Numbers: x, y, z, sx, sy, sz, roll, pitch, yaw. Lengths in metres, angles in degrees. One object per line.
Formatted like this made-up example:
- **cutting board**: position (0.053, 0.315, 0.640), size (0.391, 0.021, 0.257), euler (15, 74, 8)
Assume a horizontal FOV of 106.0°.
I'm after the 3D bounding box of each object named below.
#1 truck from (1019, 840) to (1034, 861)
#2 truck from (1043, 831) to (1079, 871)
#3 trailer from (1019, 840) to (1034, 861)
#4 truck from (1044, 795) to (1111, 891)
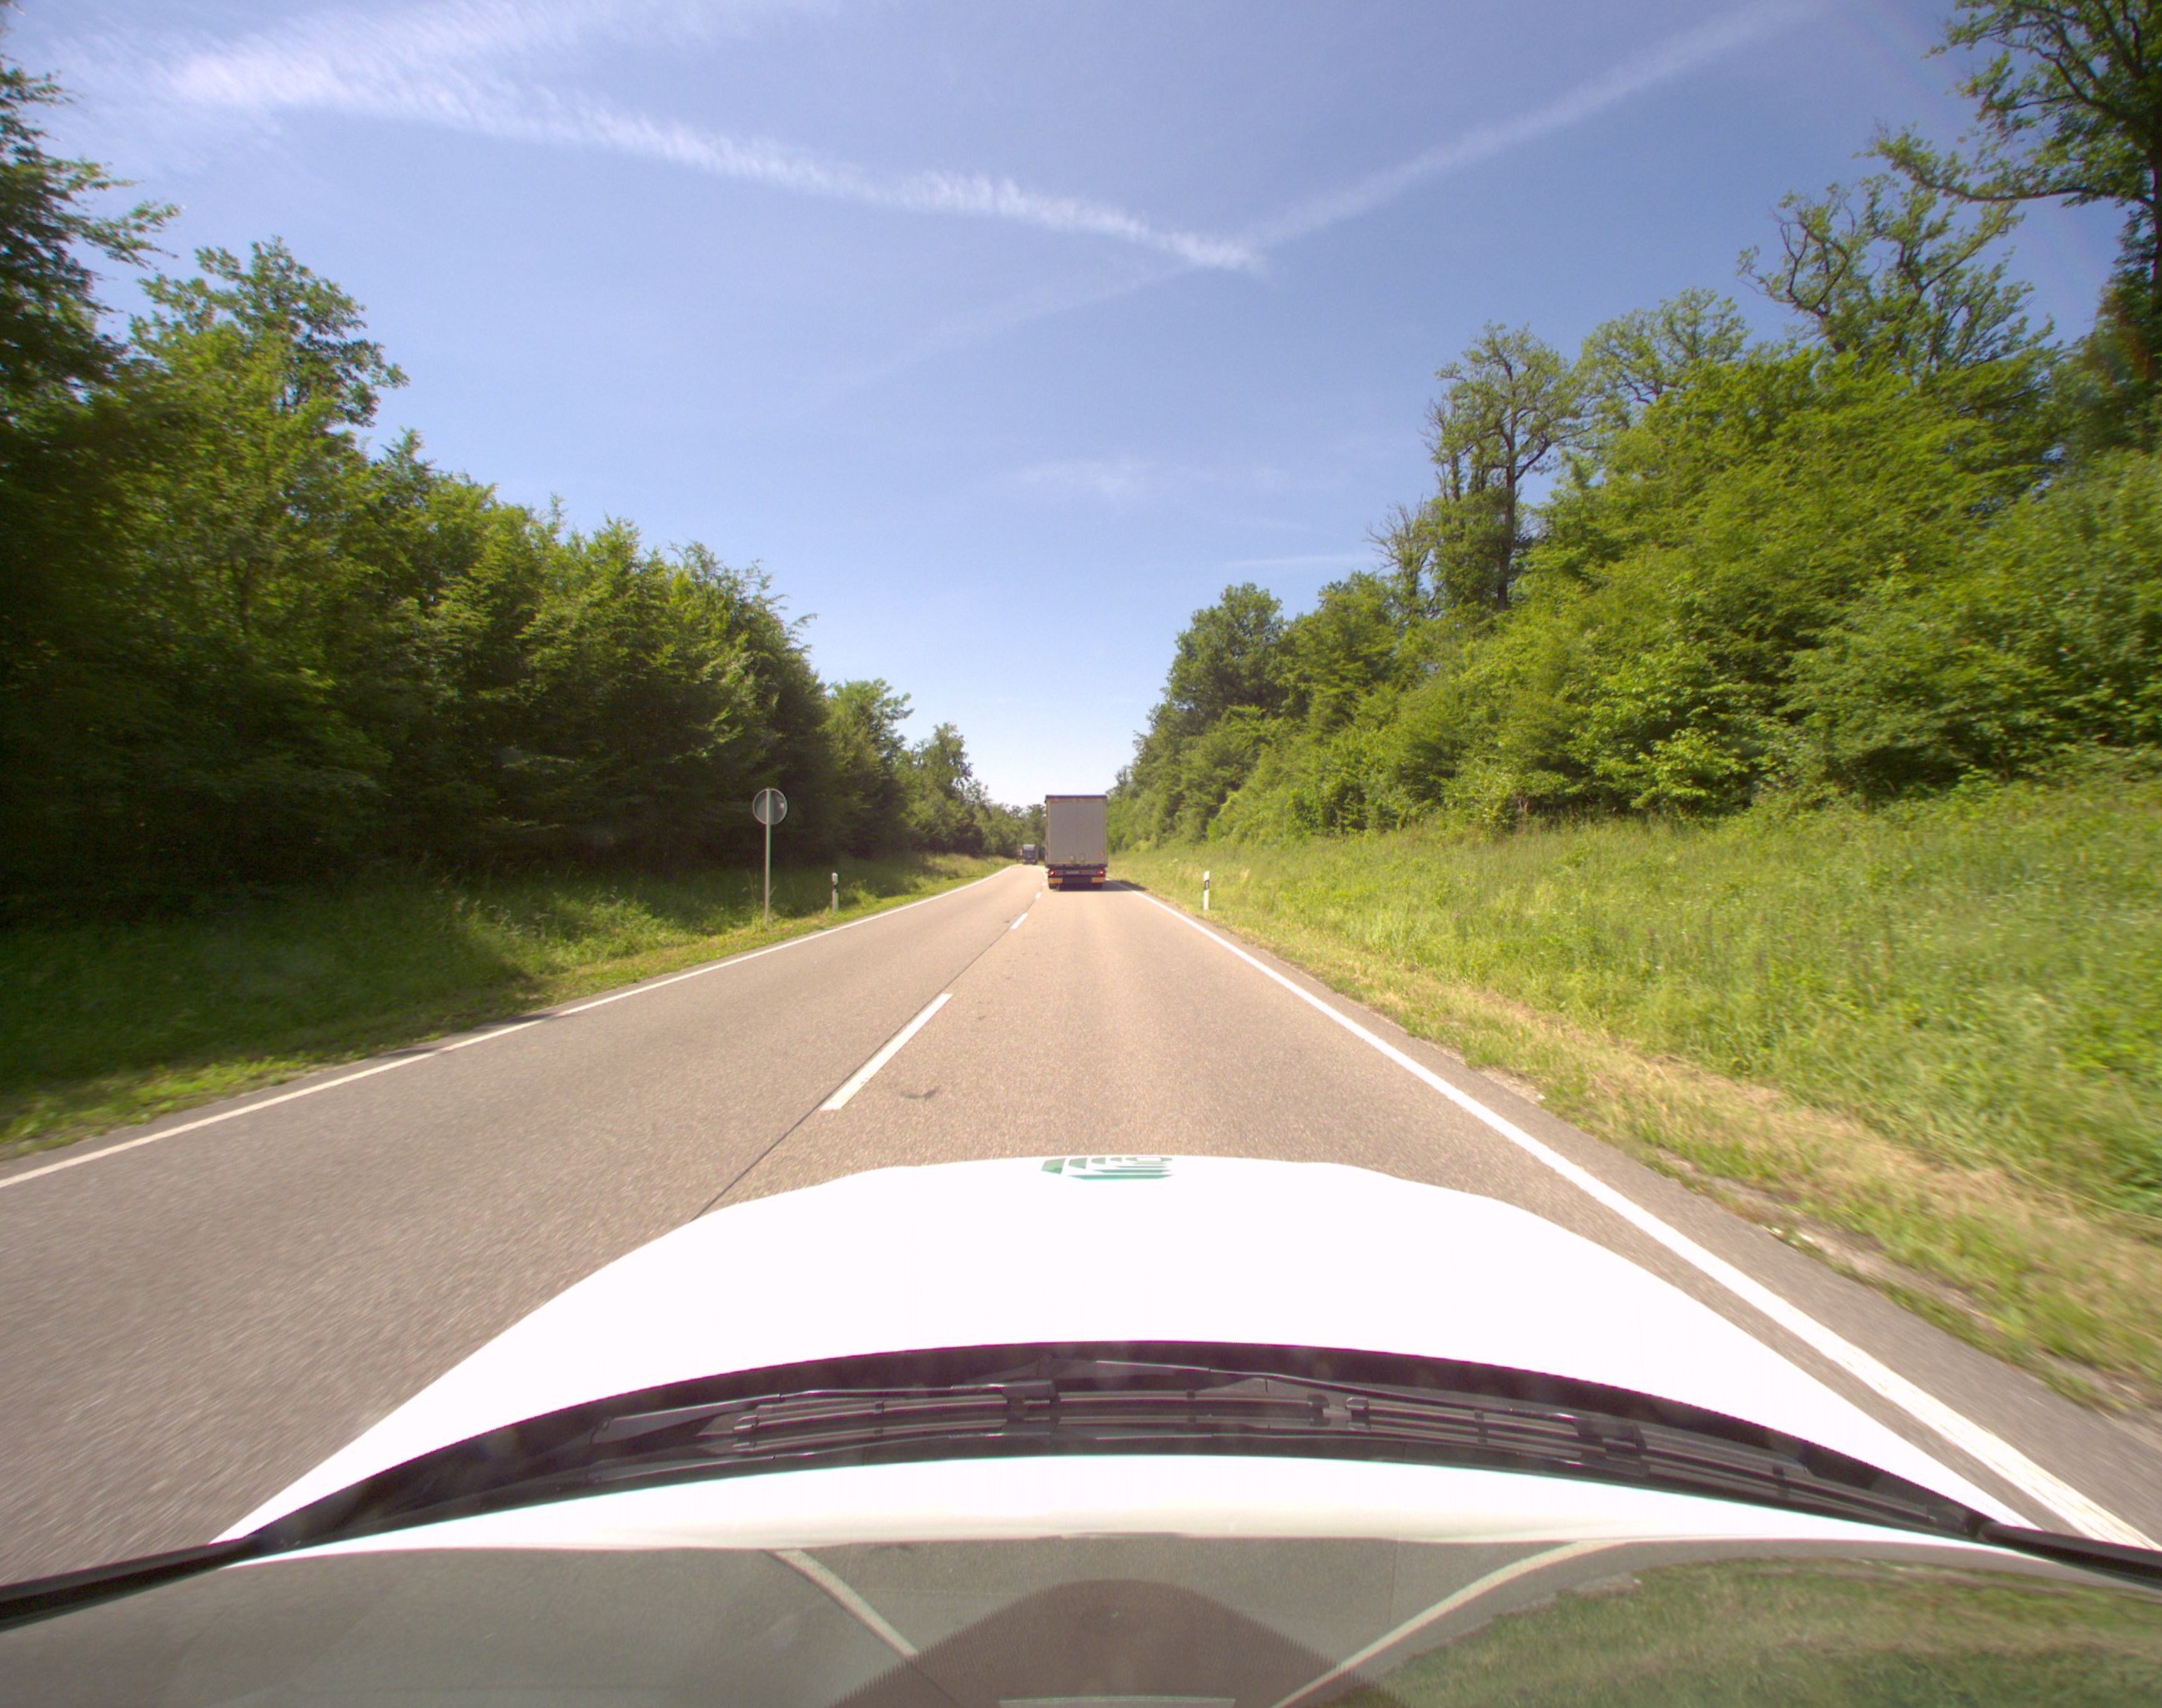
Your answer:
- **truck**: position (-11.354, -0.667, 168.842), size (2.916, 4.216, 5.336), euler (-2, 0, -4)
- **truck**: position (-2.569, -0.269, 99.208), size (3.785, 4.373, 14.900), euler (1, -1, -3)
- **trailer**: position (-11.798, -0.667, 176.052), size (2.936, 4.252, 13.601), euler (-1, 0, -4)
- **truck**: position (-0.262, -0.476, 39.632), size (2.753, 3.947, 12.191), euler (0, 0, -1)
